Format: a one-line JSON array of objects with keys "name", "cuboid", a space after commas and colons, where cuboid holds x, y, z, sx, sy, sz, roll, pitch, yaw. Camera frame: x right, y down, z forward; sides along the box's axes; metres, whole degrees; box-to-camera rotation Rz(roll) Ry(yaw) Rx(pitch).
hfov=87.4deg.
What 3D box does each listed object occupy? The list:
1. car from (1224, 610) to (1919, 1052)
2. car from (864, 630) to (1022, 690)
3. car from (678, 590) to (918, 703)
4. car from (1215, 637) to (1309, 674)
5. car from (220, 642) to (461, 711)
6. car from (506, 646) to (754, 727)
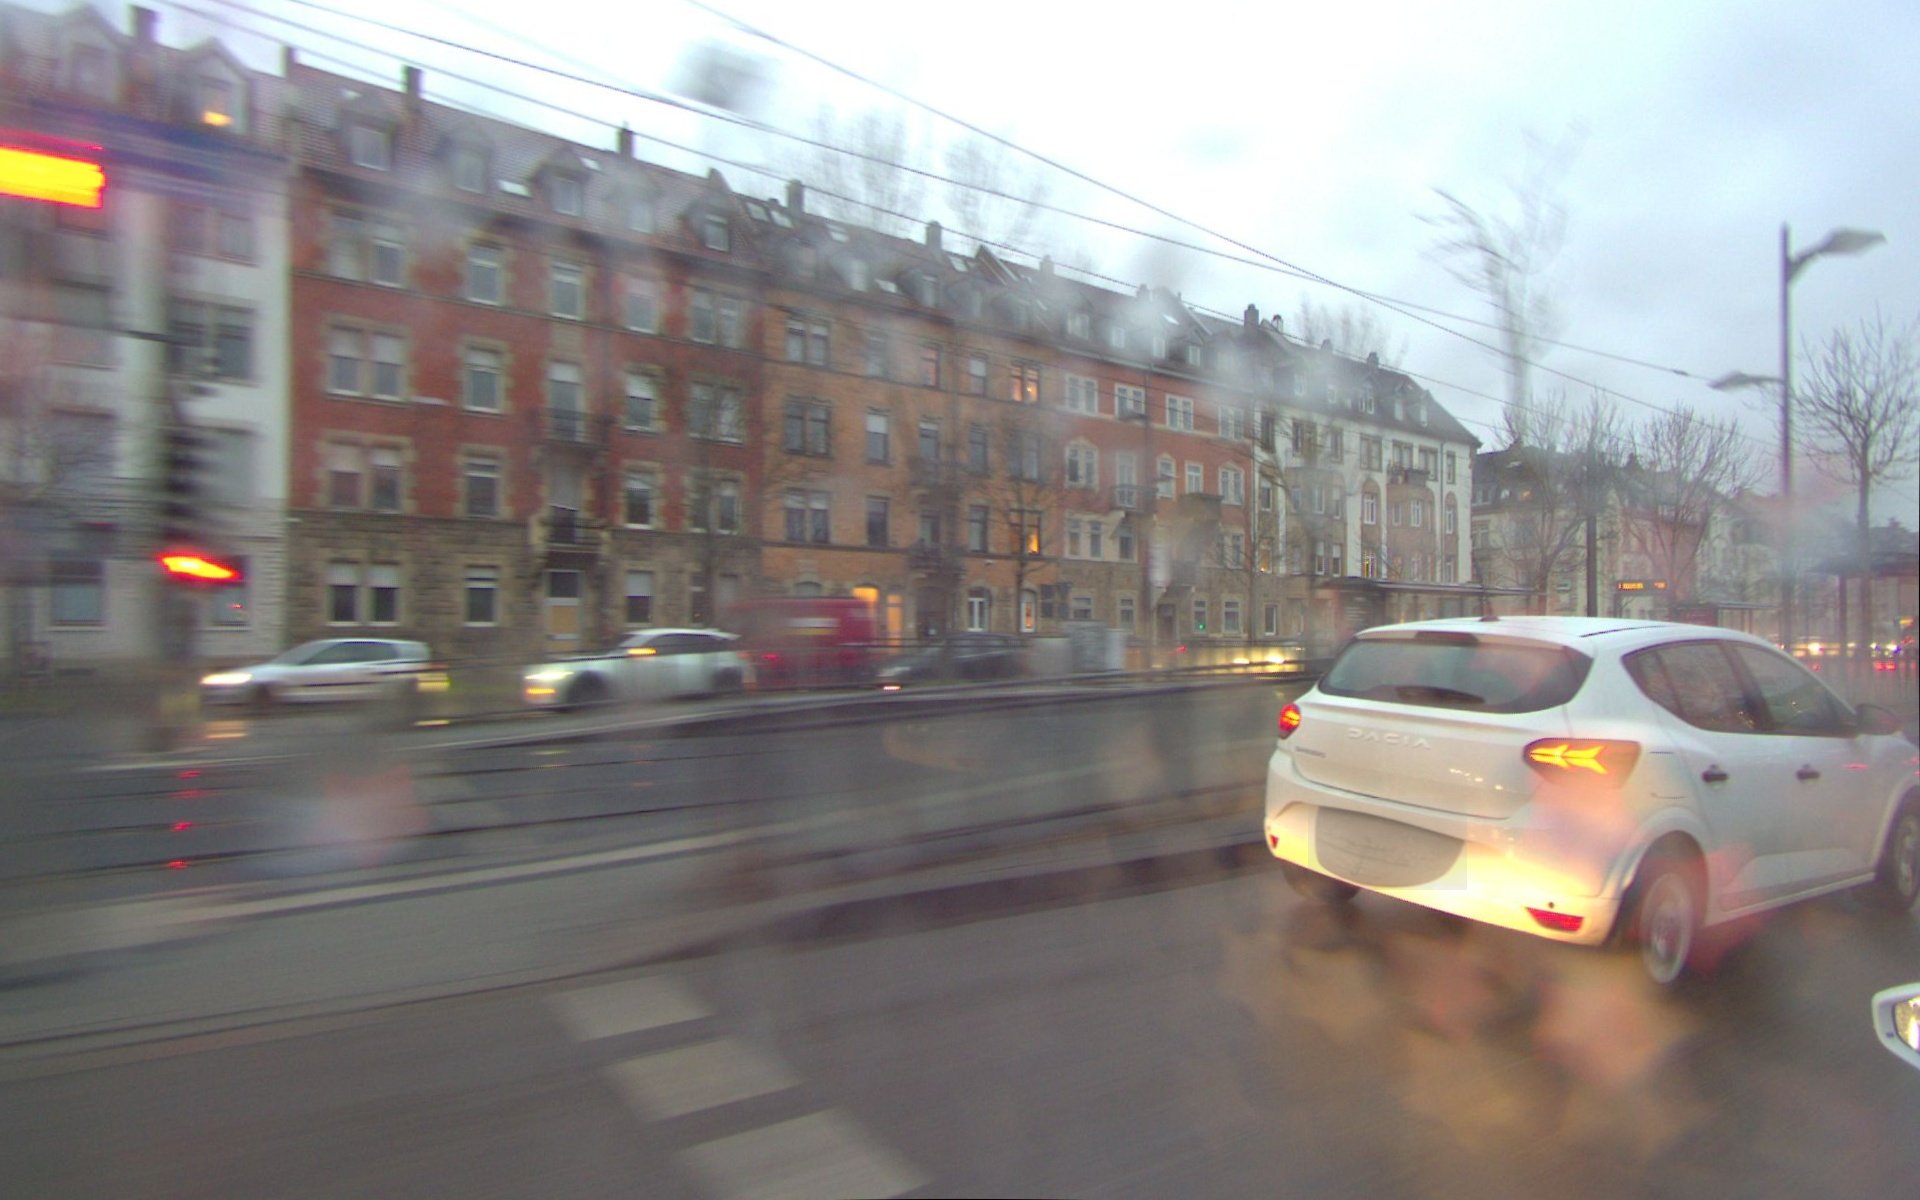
[{"name": "car", "cuboid": [3.372, 0.829, 5.175, 3.955, 1.506, 1.618, 1, -2, -32]}, {"name": "car", "cuboid": [-0.338, 1.279, 21.896, 3.164, 1.223, 1.526, 1, -3, -37]}, {"name": "car", "cuboid": [-3.667, 1.046, 23.310, 5.217, 2.340, 1.979, 1, -2, -37]}, {"name": "car", "cuboid": [10.479, 1.888, 34.803, 3.164, 1.224, 1.526, 1, -2, -37]}, {"name": "car", "cuboid": [-12.509, 1.487, 20.441, 4.048, 1.243, 1.526, 1, -2, -36]}, {"name": "car", "cuboid": [-5.942, 1.503, 18.307, 4.049, 1.262, 1.526, 1, -2, -37]}]
